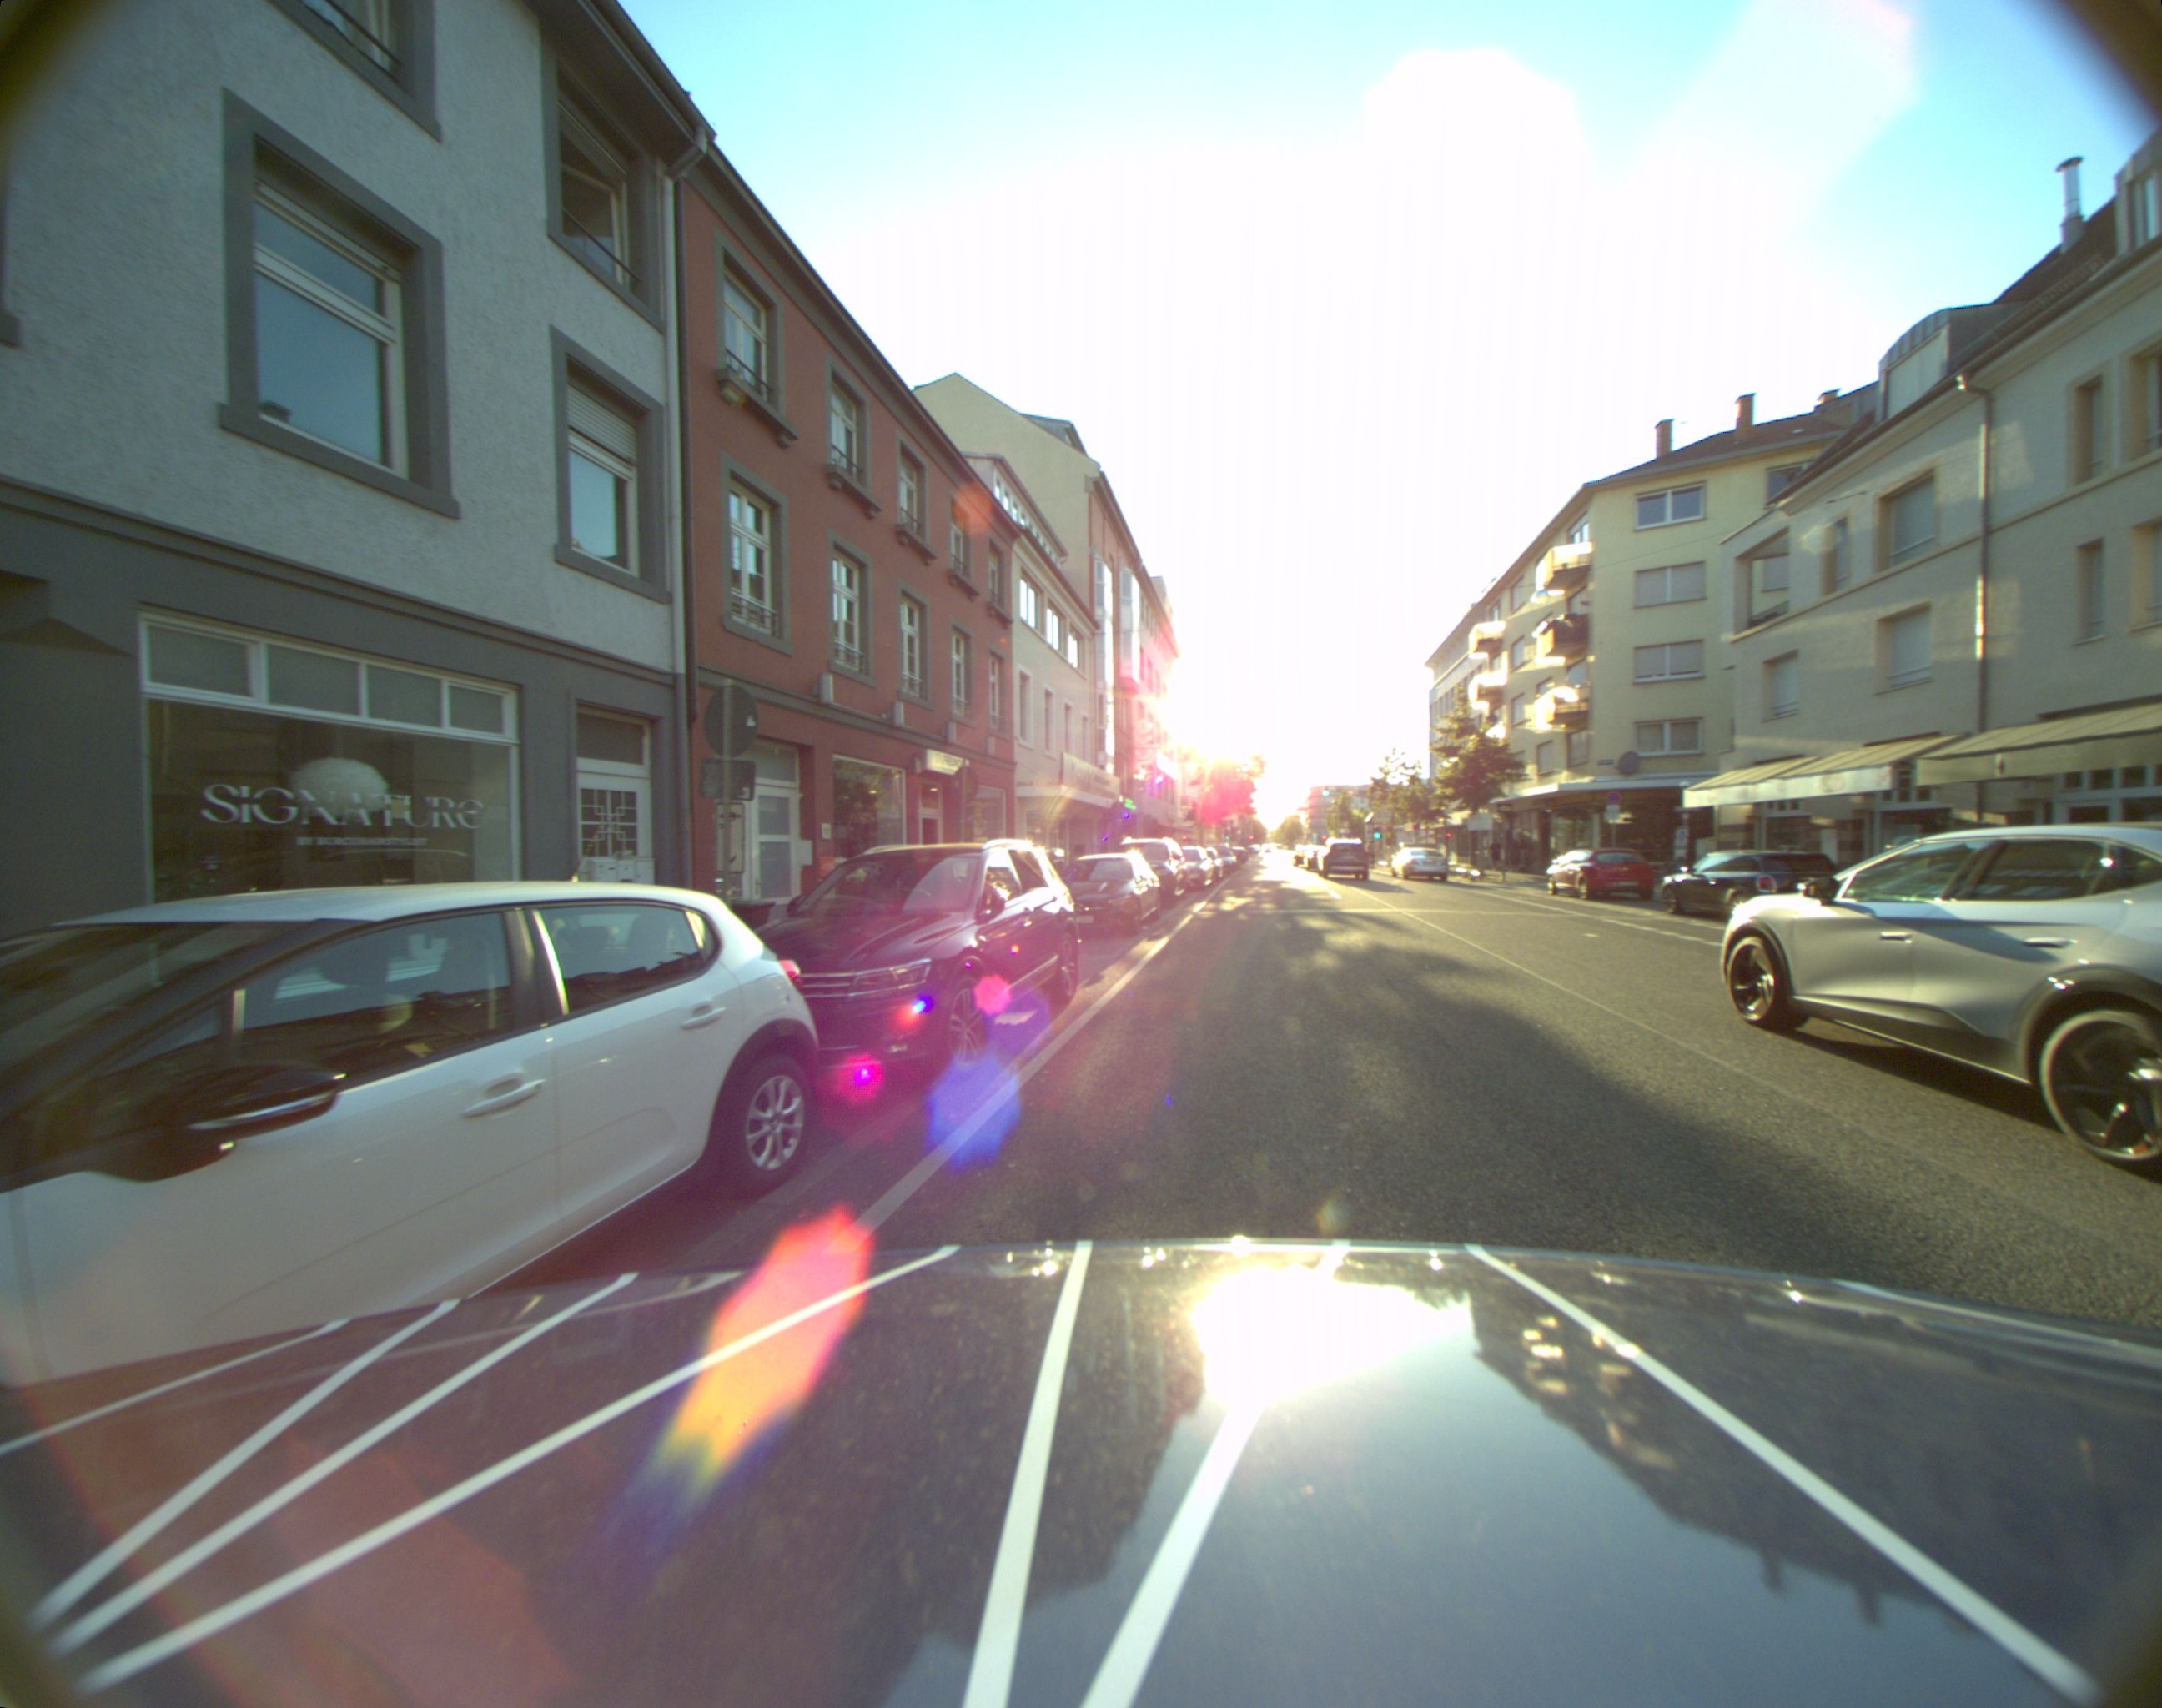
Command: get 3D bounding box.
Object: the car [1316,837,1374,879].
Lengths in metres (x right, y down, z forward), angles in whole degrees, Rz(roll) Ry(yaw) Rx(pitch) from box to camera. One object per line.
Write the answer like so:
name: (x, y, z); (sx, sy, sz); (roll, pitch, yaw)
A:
car: (11.339, 0.119, 32.914); (1.841, 1.639, 4.304); (2, 2, 12)

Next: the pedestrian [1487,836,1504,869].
pedestrian: (23.000, -0.086, 42.165); (0.719, 1.781, 0.667); (-1, 1, 14)

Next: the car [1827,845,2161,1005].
car: (11.902, 0.698, 9.498); (1.792, 1.571, 3.970); (0, 1, 11)

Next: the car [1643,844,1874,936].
car: (13.342, 0.612, 15.304); (1.792, 1.571, 3.790); (0, 1, 12)

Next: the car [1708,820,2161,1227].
car: (5.784, 0.701, 4.241); (1.875, 1.688, 4.326); (2, 2, 16)

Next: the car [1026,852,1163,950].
car: (0.440, 0.788, 14.684); (1.687, 1.479, 4.414); (-3, 1, 13)

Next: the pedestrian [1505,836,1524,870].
pedestrian: (22.834, -0.076, 40.053); (0.719, 1.781, 0.667); (-1, 1, 14)

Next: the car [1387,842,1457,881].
car: (15.276, 0.274, 34.274); (1.996, 1.595, 4.408); (1, 1, 12)

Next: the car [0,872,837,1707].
car: (-2.588, 0.943, 2.220); (1.664, 1.564, 3.938); (-2, 1, 14)

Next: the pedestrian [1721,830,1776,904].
pedestrian: (15.841, 0.301, 18.062); (0.719, 1.724, 0.738); (-1, 1, 13)

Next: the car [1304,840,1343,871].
car: (14.378, 0.044, 45.187); (1.840, 1.639, 4.304); (2, 2, 13)

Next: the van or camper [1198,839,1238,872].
van or camper: (7.761, 0.041, 42.782); (1.790, 1.764, 4.562); (0, 1, 15)

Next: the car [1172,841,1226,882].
car: (5.236, 0.265, 33.288); (1.996, 1.646, 4.484); (0, 1, 13)

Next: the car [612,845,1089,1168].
car: (-1.320, 0.827, 6.418); (1.797, 1.688, 4.464); (-2, 1, 13)

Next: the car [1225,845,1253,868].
car: (10.942, 0.177, 52.517); (1.692, 1.494, 3.791); (0, 1, 15)

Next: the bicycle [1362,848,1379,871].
bicycle: (16.298, 0.276, 42.796); (0.664, 1.236, 2.132); (2, 2, 17)

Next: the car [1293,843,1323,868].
car: (16.358, 0.088, 54.910); (1.840, 1.639, 4.304); (2, 2, 13)

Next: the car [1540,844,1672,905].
car: (15.016, 0.509, 21.988); (1.792, 1.571, 3.790); (0, 1, 12)

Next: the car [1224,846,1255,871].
car: (9.974, 0.236, 47.754); (1.692, 1.494, 3.791); (0, 1, 15)

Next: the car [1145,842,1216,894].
car: (3.691, 0.445, 27.428); (1.996, 1.645, 4.632); (-1, 1, 14)

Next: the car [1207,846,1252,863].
car: (13.544, 0.059, 69.370); (1.507, 1.426, 4.016); (0, 2, -37)

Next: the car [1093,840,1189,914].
car: (1.825, 0.526, 21.239); (1.997, 1.767, 5.323); (-1, 1, 12)

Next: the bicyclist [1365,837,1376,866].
bicyclist: (16.254, -0.154, 42.649); (0.547, 1.572, 0.804); (0, 1, 17)
